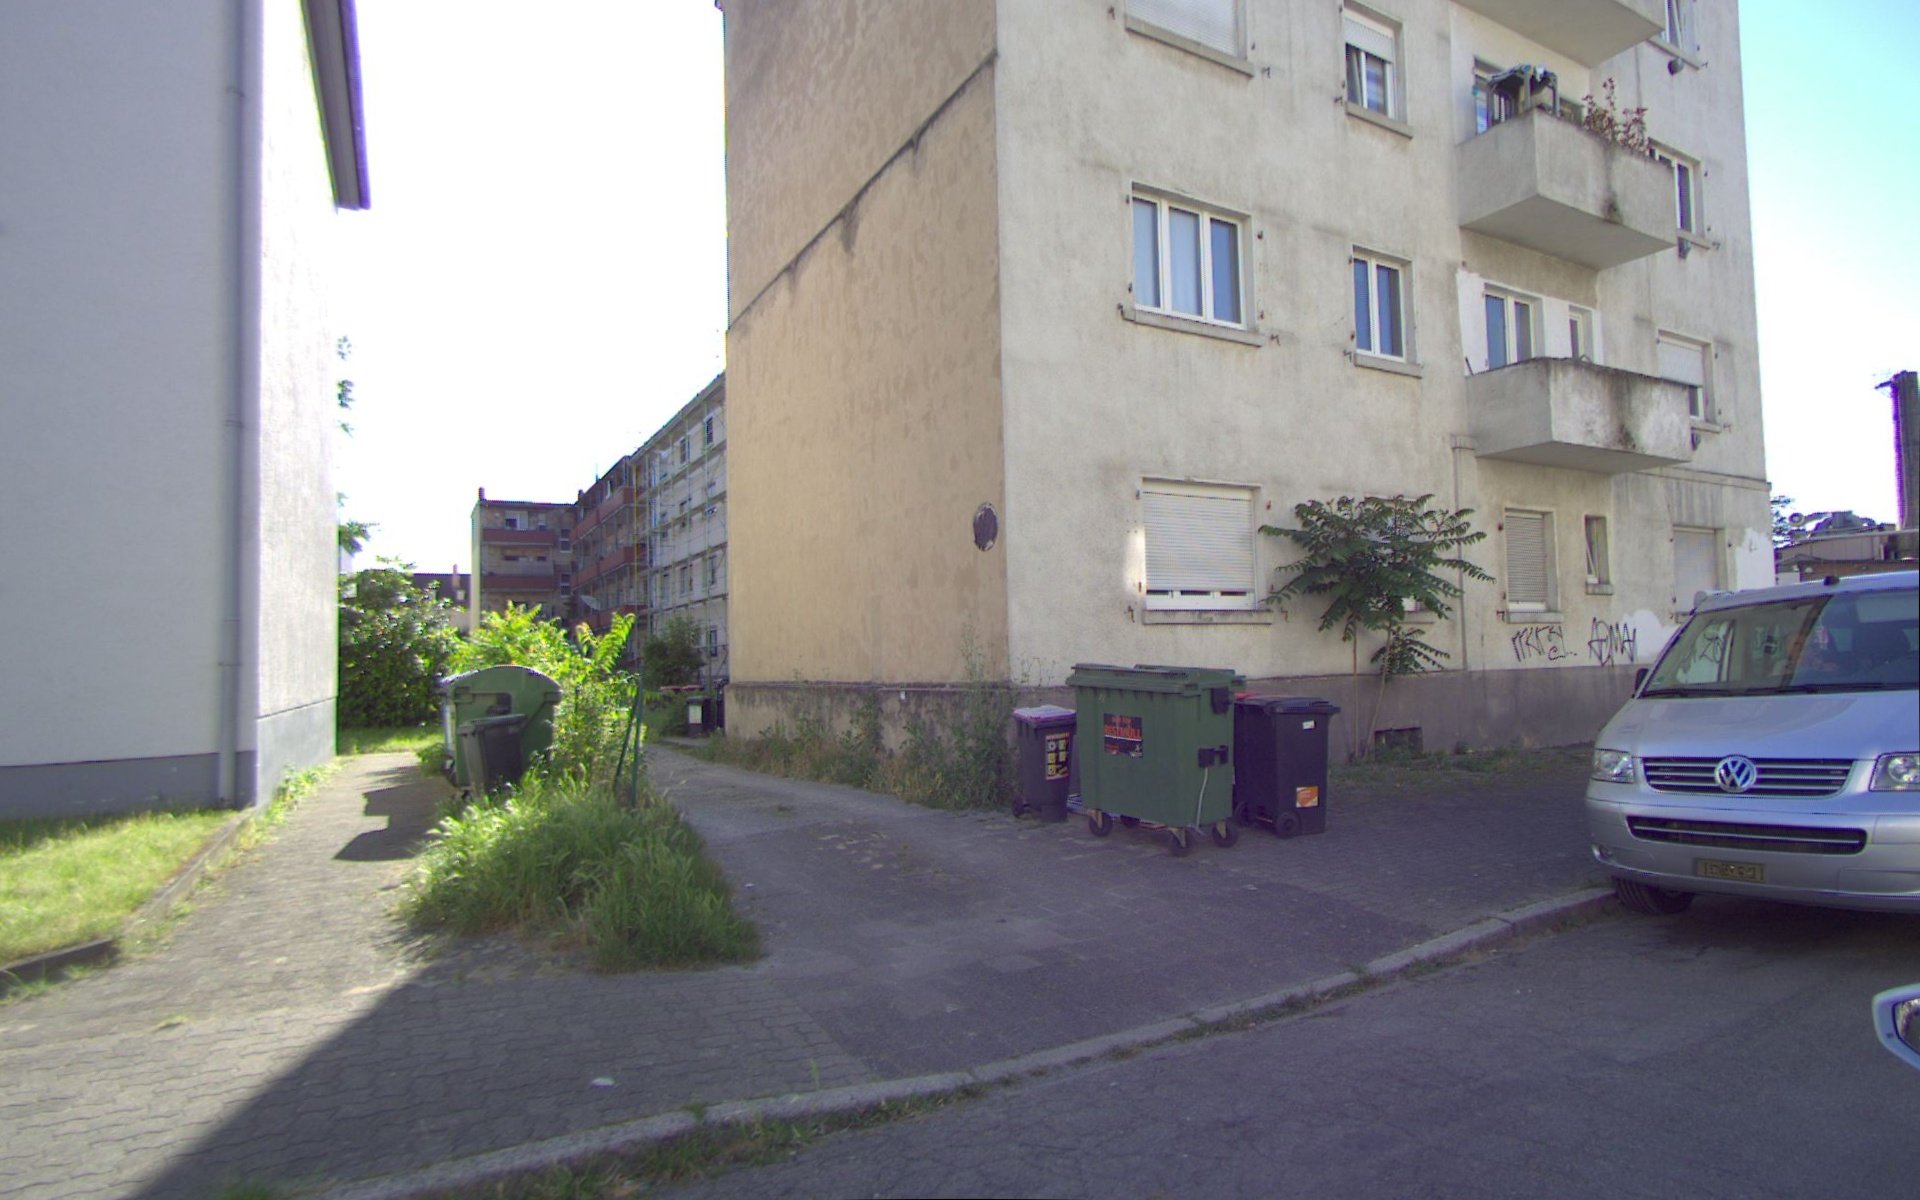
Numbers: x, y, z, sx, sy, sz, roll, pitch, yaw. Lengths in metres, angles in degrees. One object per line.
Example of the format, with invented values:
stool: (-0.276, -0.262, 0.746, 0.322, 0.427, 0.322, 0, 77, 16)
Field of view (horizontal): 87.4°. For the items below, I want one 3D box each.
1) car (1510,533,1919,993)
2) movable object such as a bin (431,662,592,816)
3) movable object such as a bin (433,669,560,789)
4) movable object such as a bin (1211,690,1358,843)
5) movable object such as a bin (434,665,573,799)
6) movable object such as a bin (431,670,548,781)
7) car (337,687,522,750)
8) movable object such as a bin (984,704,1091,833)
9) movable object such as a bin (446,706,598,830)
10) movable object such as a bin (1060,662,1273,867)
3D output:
car: (5.788, 0.799, 6.199, 4.800, 1.958, 1.942, 1, -6, -31)
movable object such as a bin: (-4.649, 1.388, 10.399, 1.420, 1.452, 1.125, 2, -5, -30)
movable object such as a bin: (-6.117, 1.658, 13.250, 1.420, 1.464, 1.125, 2, -5, -30)
movable object such as a bin: (2.602, 1.300, 8.094, 0.806, 1.093, 0.769, 1, -3, -30)
movable object such as a bin: (-5.494, 1.541, 12.074, 1.420, 1.475, 1.125, 2, -5, -30)
movable object such as a bin: (-6.689, 1.740, 14.269, 1.420, 1.464, 1.125, 2, -5, -30)
car: (-13.132, 2.906, 24.989, 3.953, 1.327, 1.477, 1, -6, -31)
movable object such as a bin: (0.654, 1.424, 8.660, 0.584, 0.987, 0.769, 1, -3, -30)
movable object such as a bin: (-4.106, 1.517, 9.386, 1.189, 1.012, 1.125, 2, -5, -30)
movable object such as a bin: (1.564, 1.188, 7.773, 1.032, 1.394, 1.250, 1, -3, -30)
